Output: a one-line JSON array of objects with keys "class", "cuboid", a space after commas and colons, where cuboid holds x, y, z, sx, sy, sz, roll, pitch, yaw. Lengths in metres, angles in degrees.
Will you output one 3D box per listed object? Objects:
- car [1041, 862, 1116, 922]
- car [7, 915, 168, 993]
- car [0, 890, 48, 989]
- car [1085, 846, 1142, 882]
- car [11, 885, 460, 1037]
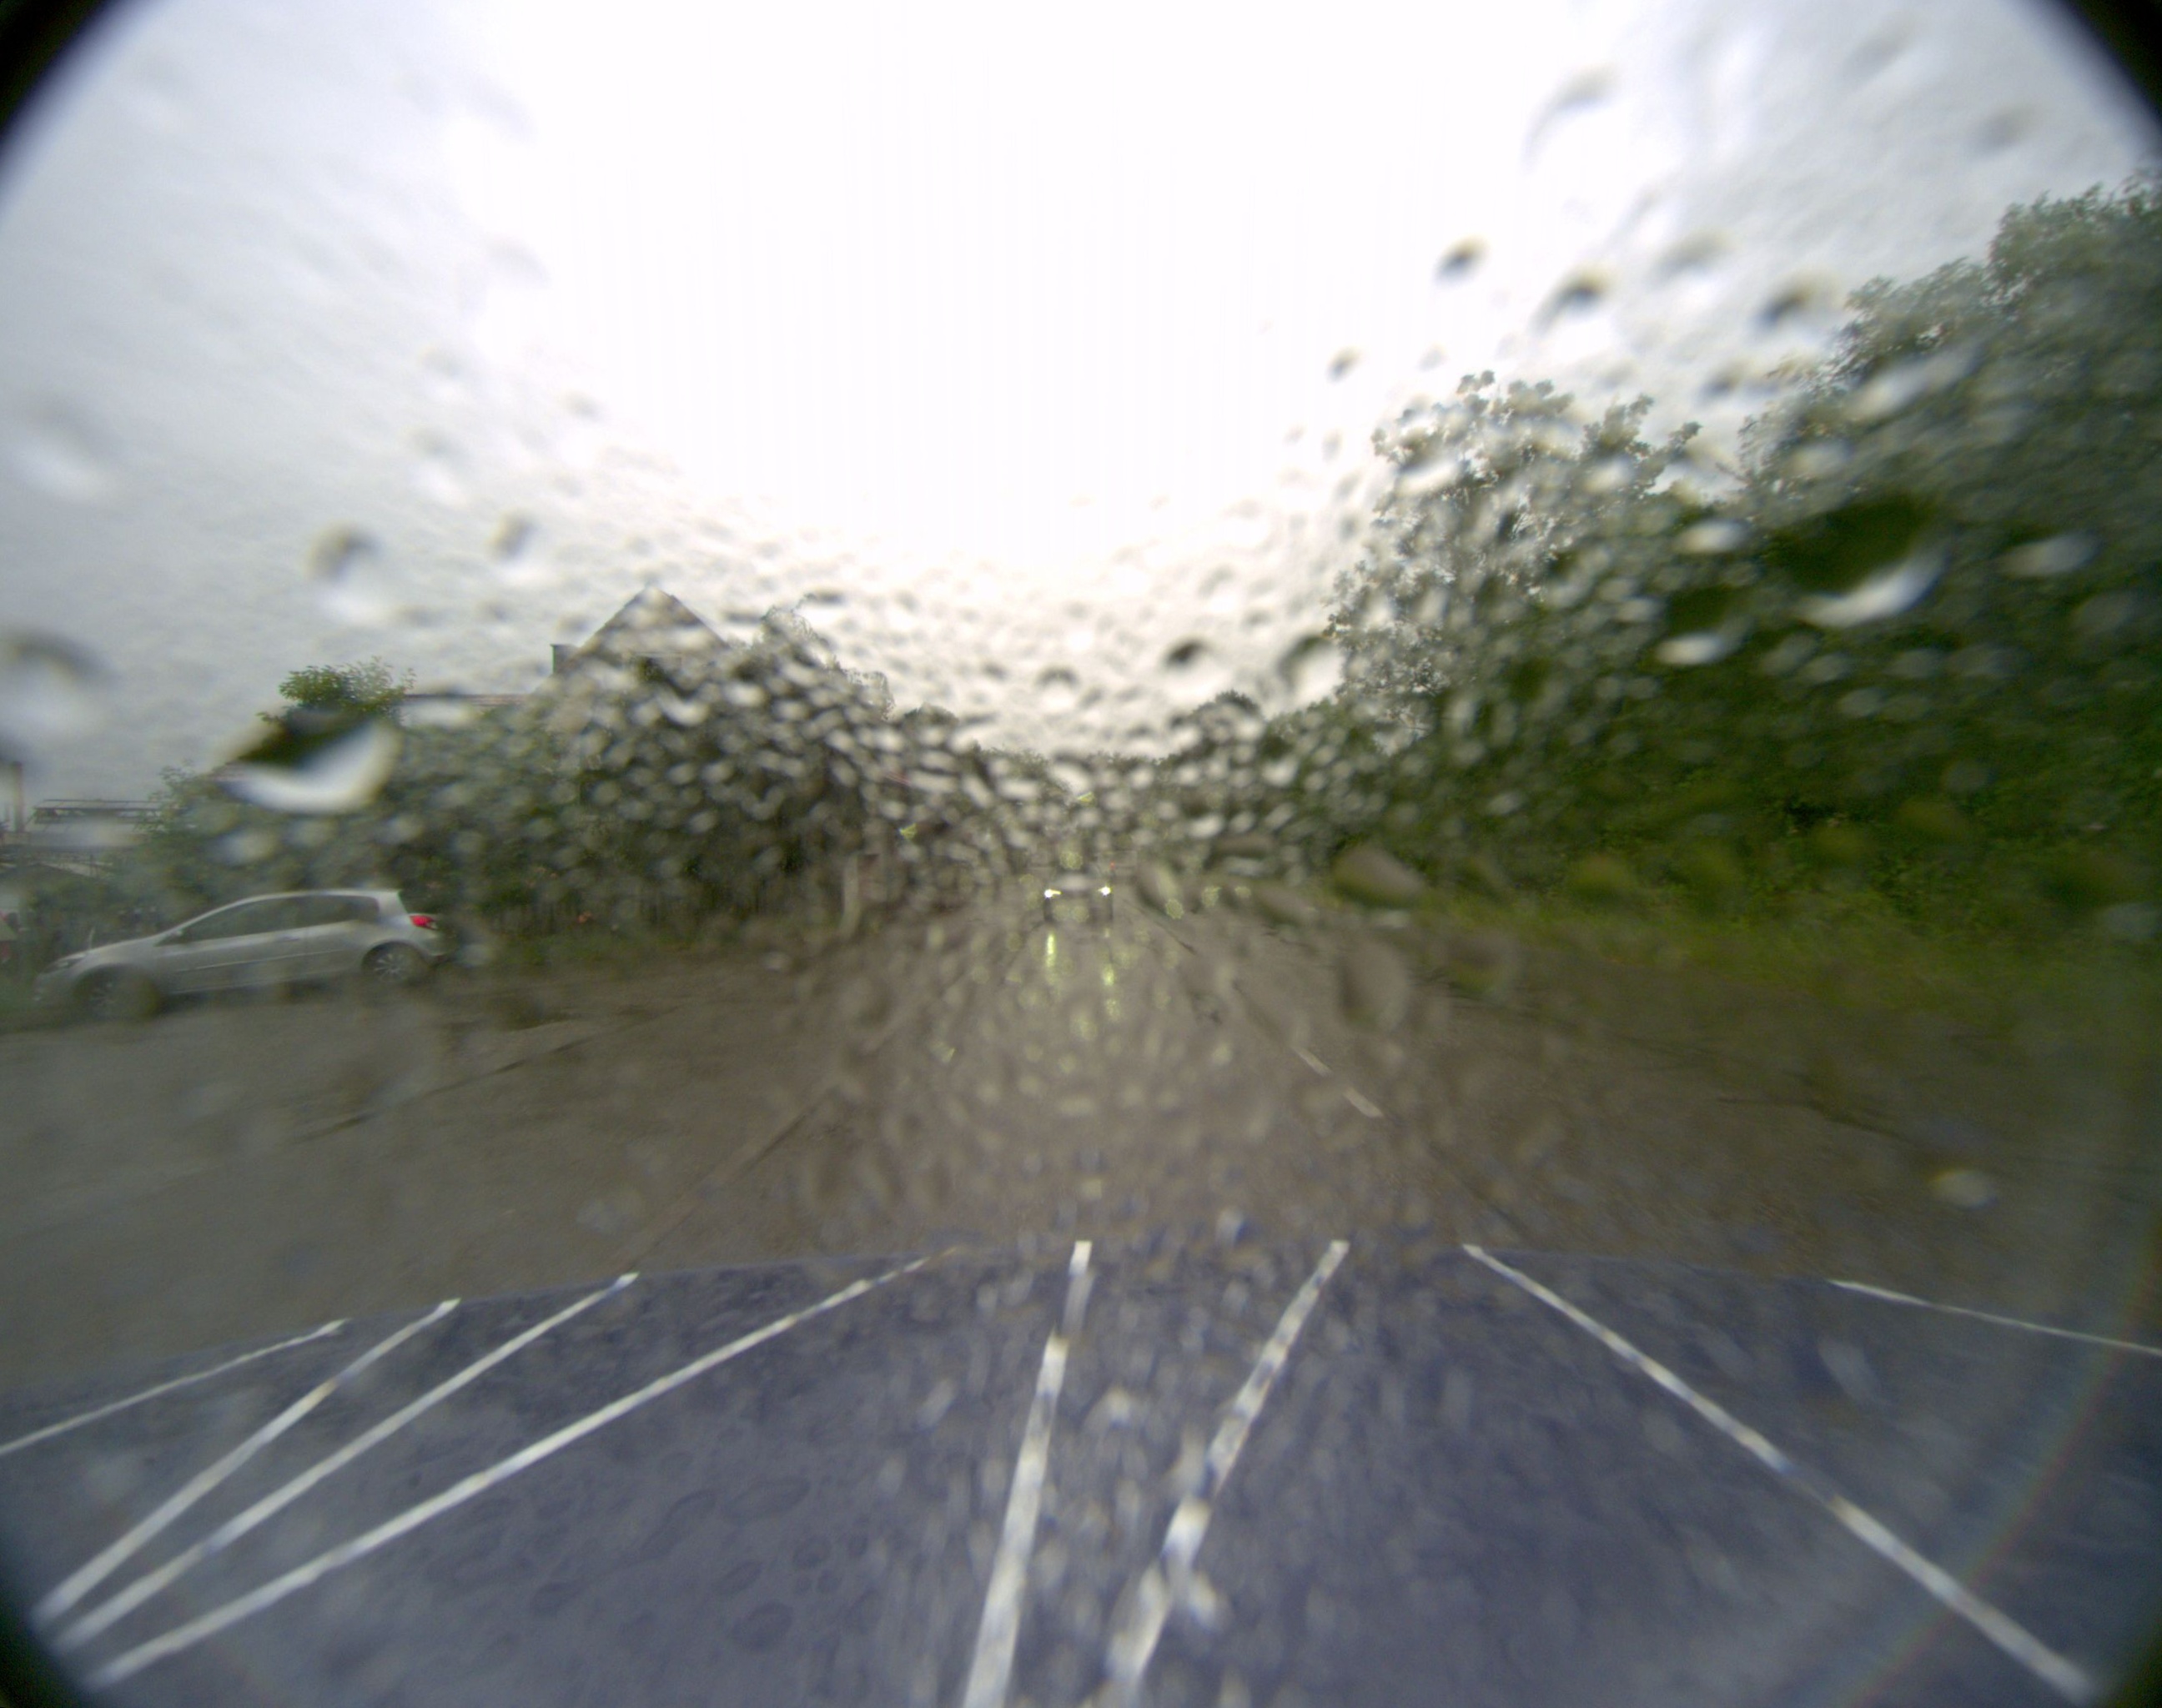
[{"class": "car", "cuboid": [-0.066, 0.955, 20.896, 1.767, 1.316, 4.548, -3, 1, 0]}, {"class": "car", "cuboid": [-28.221, 2.757, 21.752, 1.937, 1.674, 3.989, -3, 1, -41]}, {"class": "car", "cuboid": [-29.762, 2.280, 20.142, 2.004, 2.497, 3.989, -1, 0, -42]}, {"class": "car", "cuboid": [1.853, 0.560, 43.996, 1.839, 1.853, 3.948, -3, 1, -20]}, {"class": "car", "cuboid": [-11.446, 1.337, 10.762, 3.862, 1.523, 1.715, -3, 1, -33]}]
